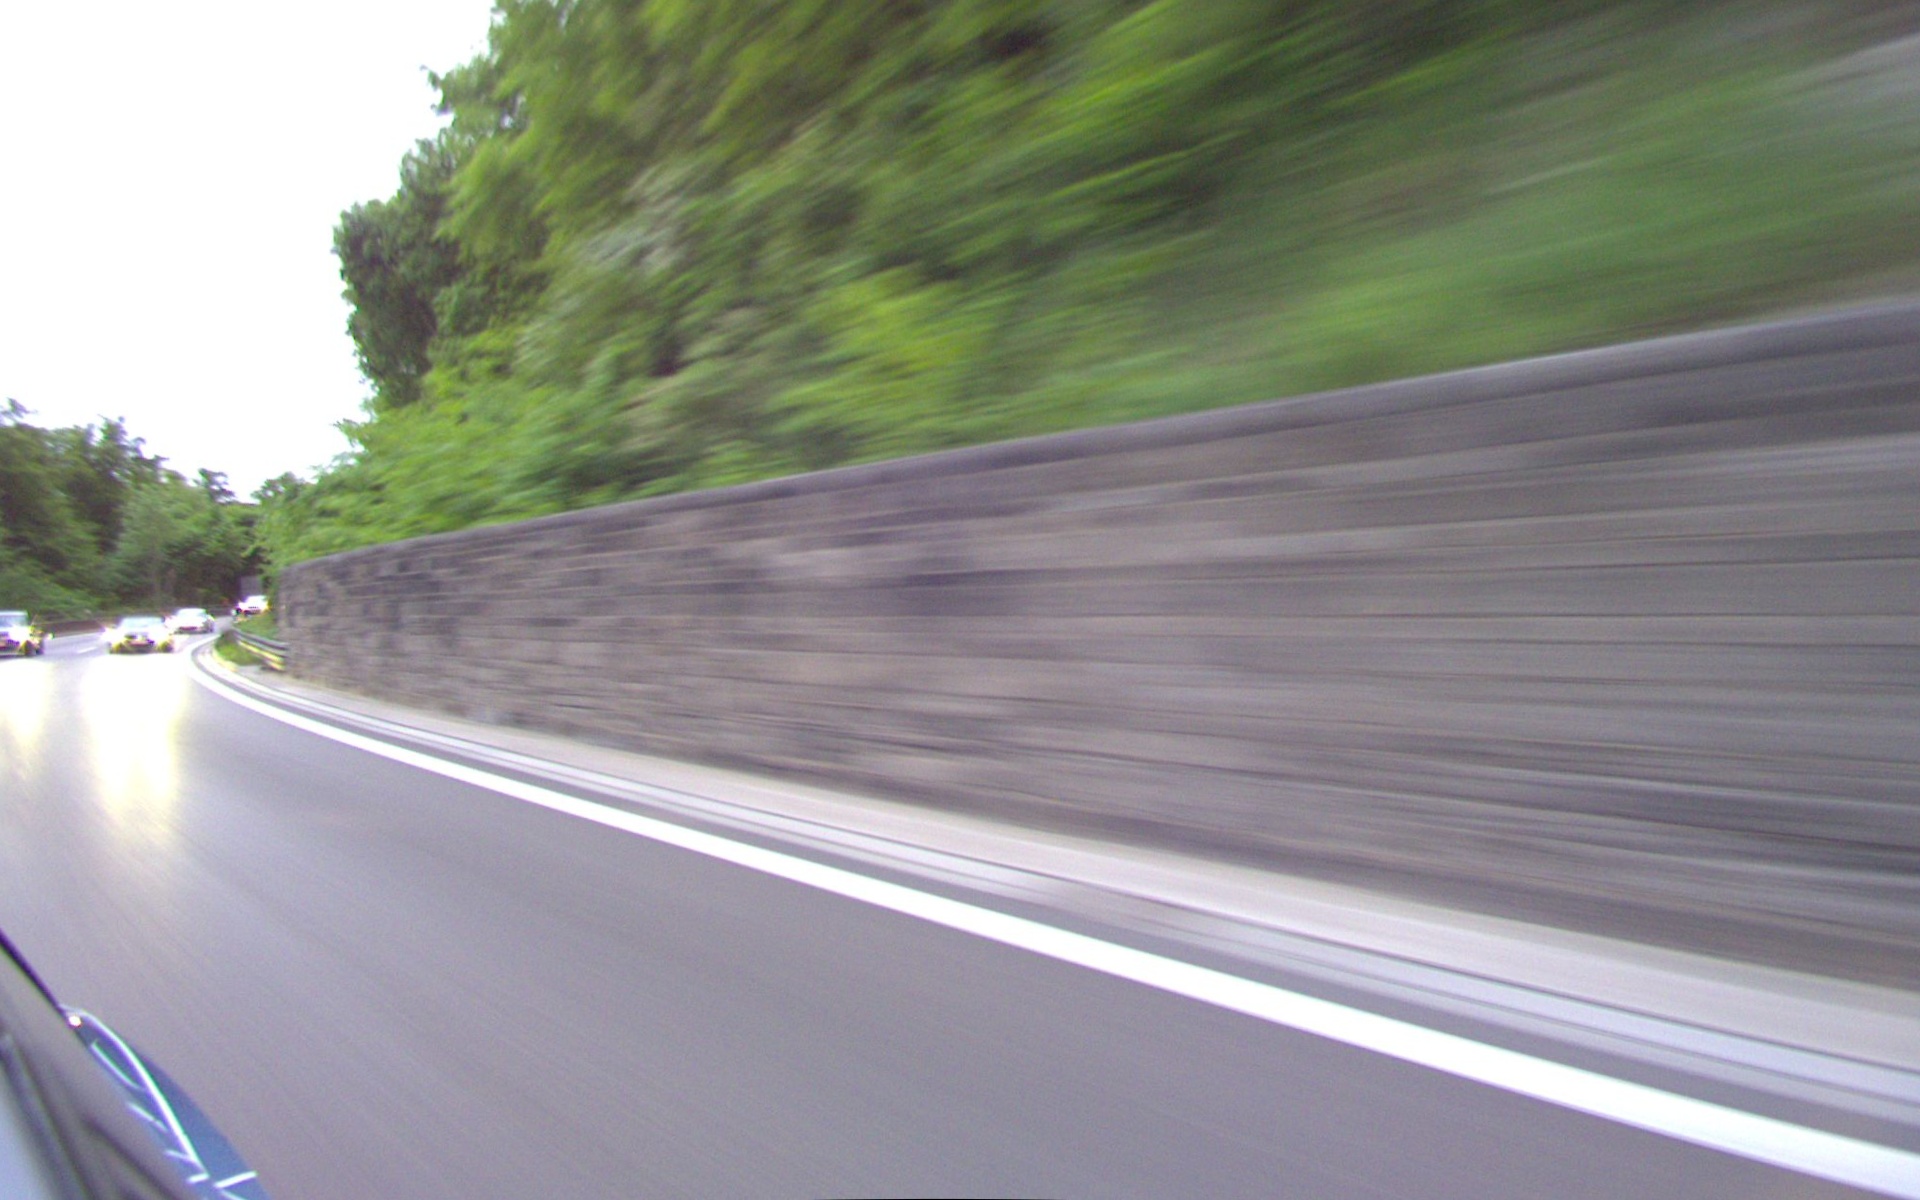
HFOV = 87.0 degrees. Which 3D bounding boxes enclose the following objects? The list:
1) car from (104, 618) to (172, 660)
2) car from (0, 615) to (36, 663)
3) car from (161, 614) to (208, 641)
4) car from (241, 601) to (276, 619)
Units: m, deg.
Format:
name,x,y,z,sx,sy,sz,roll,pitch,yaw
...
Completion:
name,x,y,z,sx,sy,sz,roll,pitch,yaw
car,-32.296,1.518,39.862,1.968,1.519,4.008,2,-2,-38
car,-34.708,1.403,36.448,1.969,1.652,4.006,-2,0,-41
car,-47.654,1.687,62.273,1.967,1.519,4.011,-2,0,-34
car,-67.583,0.983,97.520,1.965,1.630,4.013,-2,0,-23
